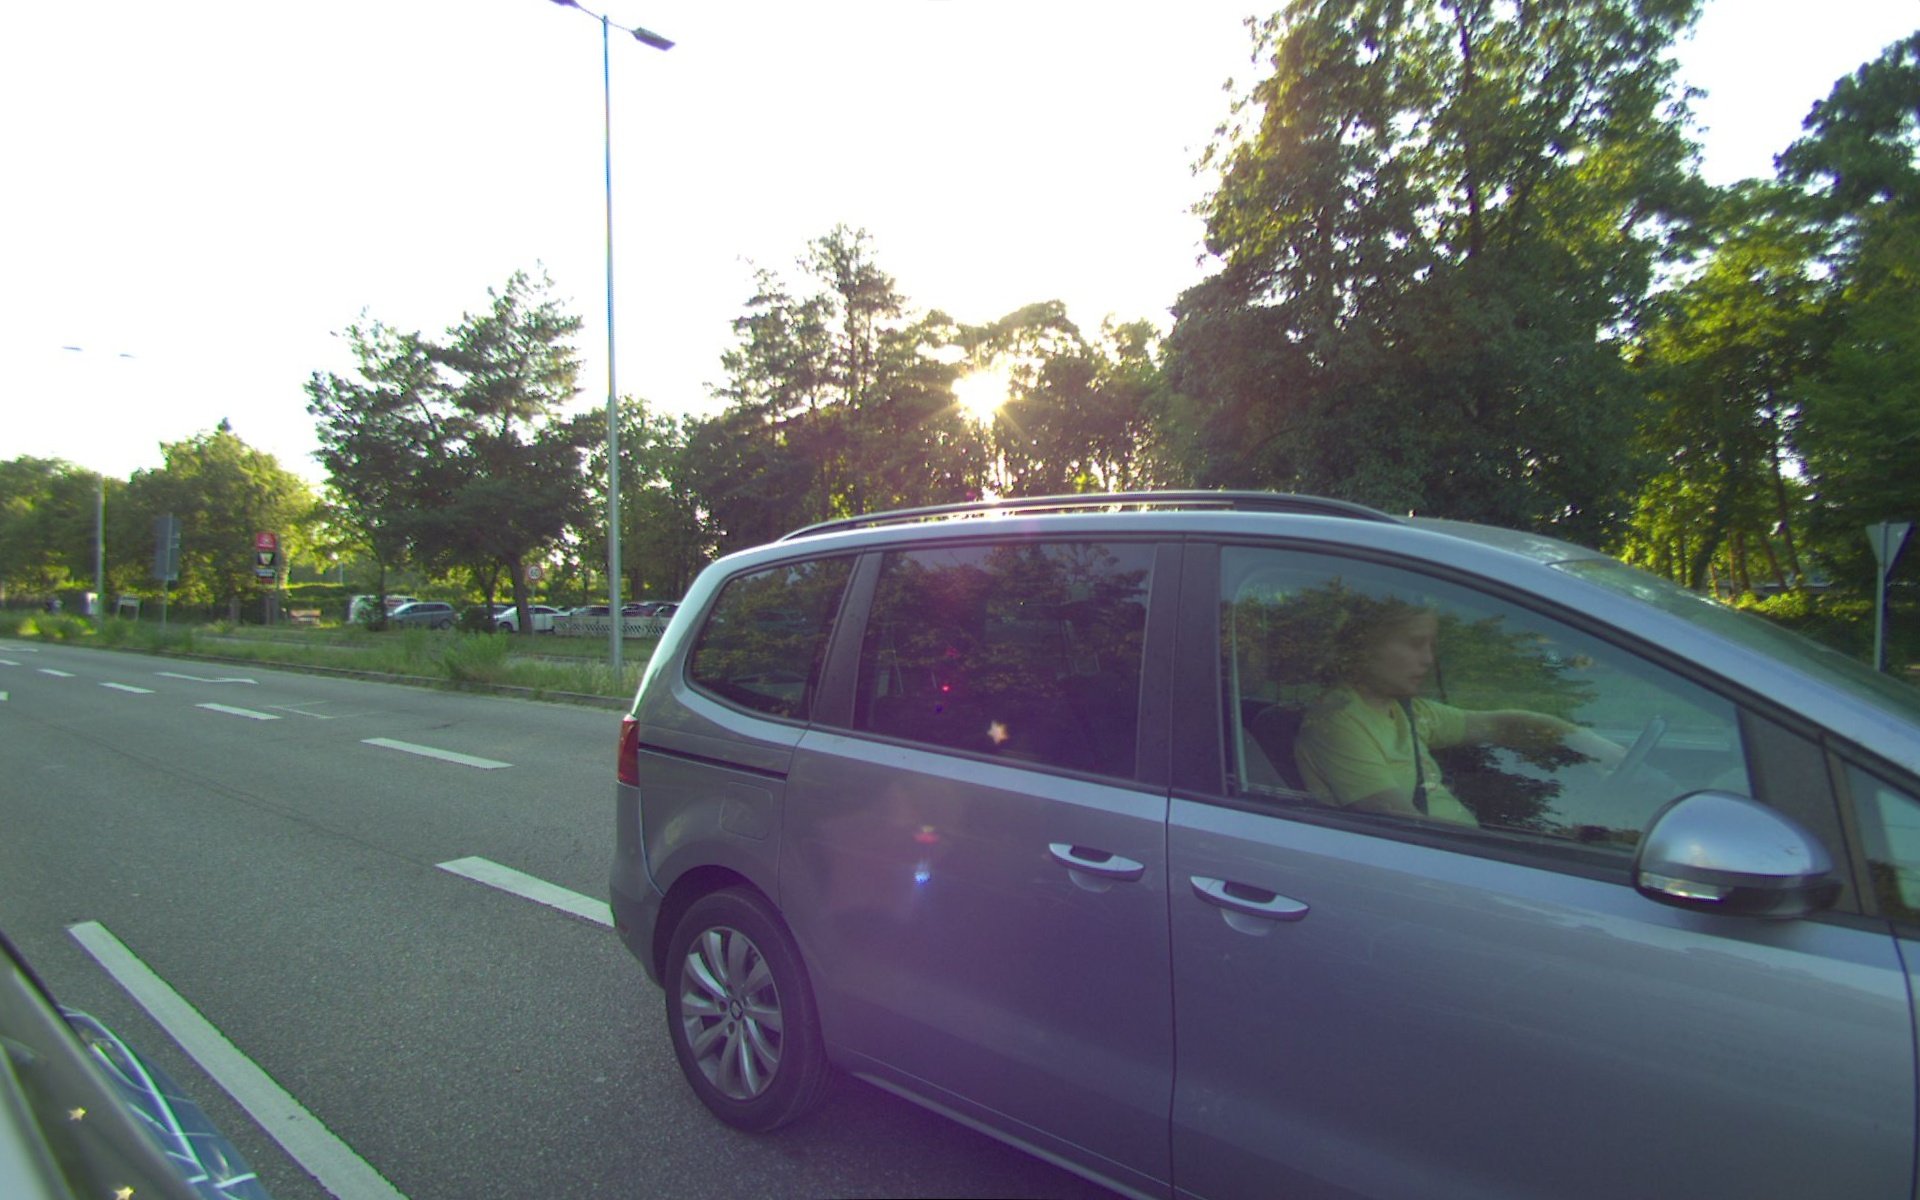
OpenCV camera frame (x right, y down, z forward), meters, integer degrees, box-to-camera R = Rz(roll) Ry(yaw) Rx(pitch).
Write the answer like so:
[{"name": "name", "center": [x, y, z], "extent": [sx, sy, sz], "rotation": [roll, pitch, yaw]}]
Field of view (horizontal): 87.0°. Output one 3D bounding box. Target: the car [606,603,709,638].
[{"name": "car", "center": [-13.287, 0.917, 44.640], "extent": [1.997, 1.464, 3.949], "rotation": [0, -1, 37]}]

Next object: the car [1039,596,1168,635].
[{"name": "car", "center": [5.385, 0.576, 38.206], "extent": [4.539, 1.417, 1.843], "rotation": [0, -1, 36]}]

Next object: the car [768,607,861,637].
[{"name": "car", "center": [-7.222, 1.048, 50.055], "extent": [4.539, 1.417, 1.843], "rotation": [0, -1, 36]}]

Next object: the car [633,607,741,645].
[{"name": "car", "center": [-11.183, 1.065, 41.696], "extent": [1.761, 1.490, 3.995], "rotation": [-1, -1, 41]}]

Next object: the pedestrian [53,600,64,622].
[{"name": "pedestrian", "center": [-74.795, 0.934, 83.952], "extent": [0.676, 1.788, 0.560], "rotation": [-1, 0, 41]}]

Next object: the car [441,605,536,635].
[{"name": "car", "center": [-24.320, 1.048, 52.301], "extent": [1.781, 1.490, 4.119], "rotation": [0, -1, 37]}]

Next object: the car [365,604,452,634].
[{"name": "car", "center": [-31.340, 1.098, 57.595], "extent": [1.824, 1.649, 3.946], "rotation": [0, -1, 40]}]

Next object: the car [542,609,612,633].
[{"name": "car", "center": [-23.474, 1.250, 61.995], "extent": [4.539, 1.417, 1.843], "rotation": [0, -1, 36]}]

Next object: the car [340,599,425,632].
[{"name": "car", "center": [-33.859, 0.914, 59.401], "extent": [1.824, 1.879, 3.946], "rotation": [0, -1, 40]}]

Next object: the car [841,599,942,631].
[{"name": "car", "center": [-3.159, 0.686, 46.439], "extent": [4.539, 1.417, 1.843], "rotation": [0, -1, 36]}]

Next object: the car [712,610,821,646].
[{"name": "car", "center": [-7.696, 1.087, 40.051], "extent": [4.490, 1.334, 1.659], "rotation": [0, -1, 36]}]

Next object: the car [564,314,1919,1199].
[{"name": "car", "center": [1.142, 0.554, 2.380], "extent": [4.656, 1.738, 1.847], "rotation": [-1, -2, 40]}]

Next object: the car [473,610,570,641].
[{"name": "car", "center": [-21.905, 1.255, 50.663], "extent": [1.781, 1.490, 4.119], "rotation": [0, -1, 37]}]

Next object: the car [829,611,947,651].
[{"name": "car", "center": [-2.593, 1.079, 36.066], "extent": [3.992, 1.342, 1.843], "rotation": [0, -1, 36]}]

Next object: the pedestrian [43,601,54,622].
[{"name": "pedestrian", "center": [-75.190, 0.954, 83.469], "extent": [0.676, 1.759, 0.560], "rotation": [-1, 0, 41]}]

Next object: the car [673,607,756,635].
[{"name": "car", "center": [-13.157, 1.120, 54.141], "extent": [4.539, 1.417, 1.843], "rotation": [0, -1, 36]}]
